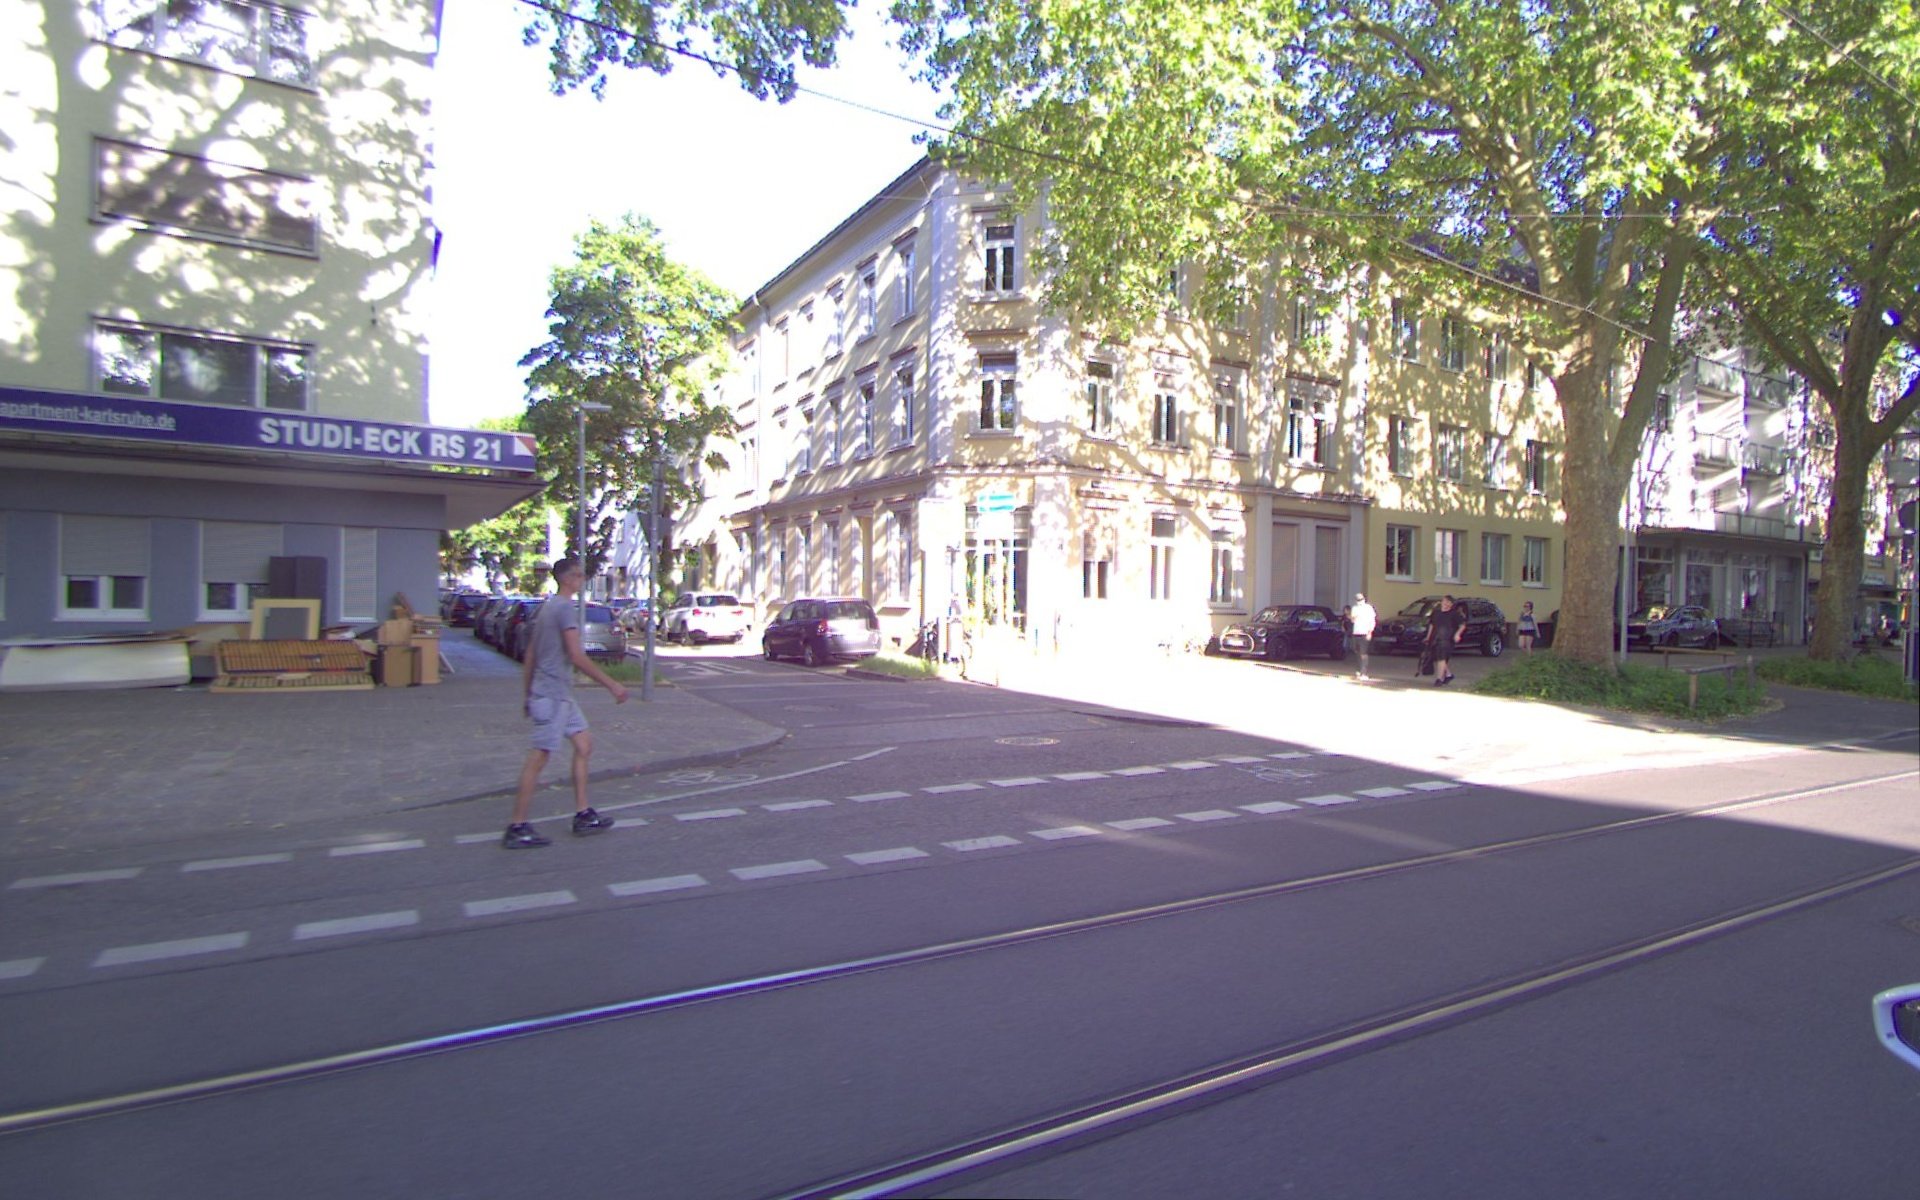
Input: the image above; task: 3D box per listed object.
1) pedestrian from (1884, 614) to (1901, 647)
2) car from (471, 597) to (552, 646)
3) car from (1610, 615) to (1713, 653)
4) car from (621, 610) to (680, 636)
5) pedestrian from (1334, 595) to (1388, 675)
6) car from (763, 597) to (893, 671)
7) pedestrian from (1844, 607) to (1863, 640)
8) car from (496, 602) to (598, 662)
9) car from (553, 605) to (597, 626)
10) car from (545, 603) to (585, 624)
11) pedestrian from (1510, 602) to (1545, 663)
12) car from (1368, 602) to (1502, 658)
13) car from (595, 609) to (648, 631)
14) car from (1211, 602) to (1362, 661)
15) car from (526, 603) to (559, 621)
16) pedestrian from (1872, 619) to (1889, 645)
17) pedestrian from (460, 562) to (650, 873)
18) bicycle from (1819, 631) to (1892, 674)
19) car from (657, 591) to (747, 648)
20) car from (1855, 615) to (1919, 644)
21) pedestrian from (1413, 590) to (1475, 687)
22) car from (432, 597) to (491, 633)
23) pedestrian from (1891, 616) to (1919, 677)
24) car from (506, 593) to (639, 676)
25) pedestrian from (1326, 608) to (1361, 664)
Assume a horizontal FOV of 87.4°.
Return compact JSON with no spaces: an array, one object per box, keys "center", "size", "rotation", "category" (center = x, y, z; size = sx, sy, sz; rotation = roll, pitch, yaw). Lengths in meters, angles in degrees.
[{"center":[47.038,1.536,50.683],"size":[0.521,1.604,0.504],"rotation":[1,0,-33],"category":"pedestrian"},{"center":[-14.693,0.661,32.810],"size":[1.802,1.472,3.963],"rotation":[1,0,-33],"category":"car"},{"center":[25.595,1.207,36.629],"size":[3.783,1.293,1.687],"rotation":[1,0,-31],"category":"car"},{"center":[-12.802,0.935,41.474],"size":[1.617,0.972,3.388],"rotation":[1,0,-30],"category":"car"},{"center":[8.528,0.725,21.369],"size":[0.638,1.654,0.840],"rotation":[1,0,-36],"category":"pedestrian"},{"center":[-3.333,0.761,24.831],"size":[1.975,1.606,3.631],"rotation":[-2,2,-29],"category":"car"},{"center":[43.764,1.149,49.207],"size":[0.568,1.604,0.549],"rotation":[1,0,-35],"category":"pedestrian"},{"center":[-11.170,0.801,27.008],"size":[1.802,1.472,3.963],"rotation":[1,0,-33],"category":"car"},{"center":[-20.329,0.821,52.964],"size":[1.628,1.028,3.388],"rotation":[1,0,-30],"category":"car"},{"center":[-22.241,0.765,56.544],"size":[1.628,1.109,3.388],"rotation":[1,0,-30],"category":"car"},{"center":[15.680,0.896,27.763],"size":[0.641,1.674,0.550],"rotation":[1,0,-27],"category":"pedestrian"},{"center":[14.312,0.892,30.235],"size":[3.953,1.537,1.673],"rotation":[1,1,-30],"category":"car"},{"center":[-15.375,0.900,45.551],"size":[1.628,0.894,3.388],"rotation":[1,0,-30],"category":"car"},{"center":[8.824,0.832,27.090],"size":[3.953,1.483,1.674],"rotation":[1,0,-30],"category":"car"},{"center":[-27.982,0.779,67.207],"size":[1.628,1.109,3.388],"rotation":[1,0,-30],"category":"car"},{"center":[47.246,1.636,51.540],"size":[0.521,1.351,0.504],"rotation":[1,0,-33],"category":"pedestrian"},{"center":[-2.515,0.676,6.257],"size":[0.907,1.758,0.704],"rotation":[1,-1,-45],"category":"pedestrian"},{"center":[25.031,1.456,28.108],"size":[0.444,1.076,1.696],"rotation":[2,1,0],"category":"bicycle"},{"center":[-8.670,0.617,33.583],"size":[1.864,1.793,3.966],"rotation":[1,0,-31],"category":"car"},{"center":[59.078,1.840,63.092],"size":[1.981,1.728,3.959],"rotation":[1,0,-36],"category":"car"},{"center":[9.703,0.745,20.153],"size":[0.638,1.894,0.899],"rotation":[1,0,-36],"category":"pedestrian"},{"center":[-21.667,0.621,43.570],"size":[1.802,1.451,3.963],"rotation":[1,0,-33],"category":"car"},{"center":[25.792,1.259,27.358],"size":[0.521,1.604,0.504],"rotation":[1,0,-33],"category":"pedestrian"},{"center":[-8.198,0.657,21.061],"size":[1.802,1.555,3.963],"rotation":[1,0,-33],"category":"car"},{"center":[10.000,0.924,26.191],"size":[0.641,1.421,0.550],"rotation":[1,0,-27],"category":"pedestrian"}]
